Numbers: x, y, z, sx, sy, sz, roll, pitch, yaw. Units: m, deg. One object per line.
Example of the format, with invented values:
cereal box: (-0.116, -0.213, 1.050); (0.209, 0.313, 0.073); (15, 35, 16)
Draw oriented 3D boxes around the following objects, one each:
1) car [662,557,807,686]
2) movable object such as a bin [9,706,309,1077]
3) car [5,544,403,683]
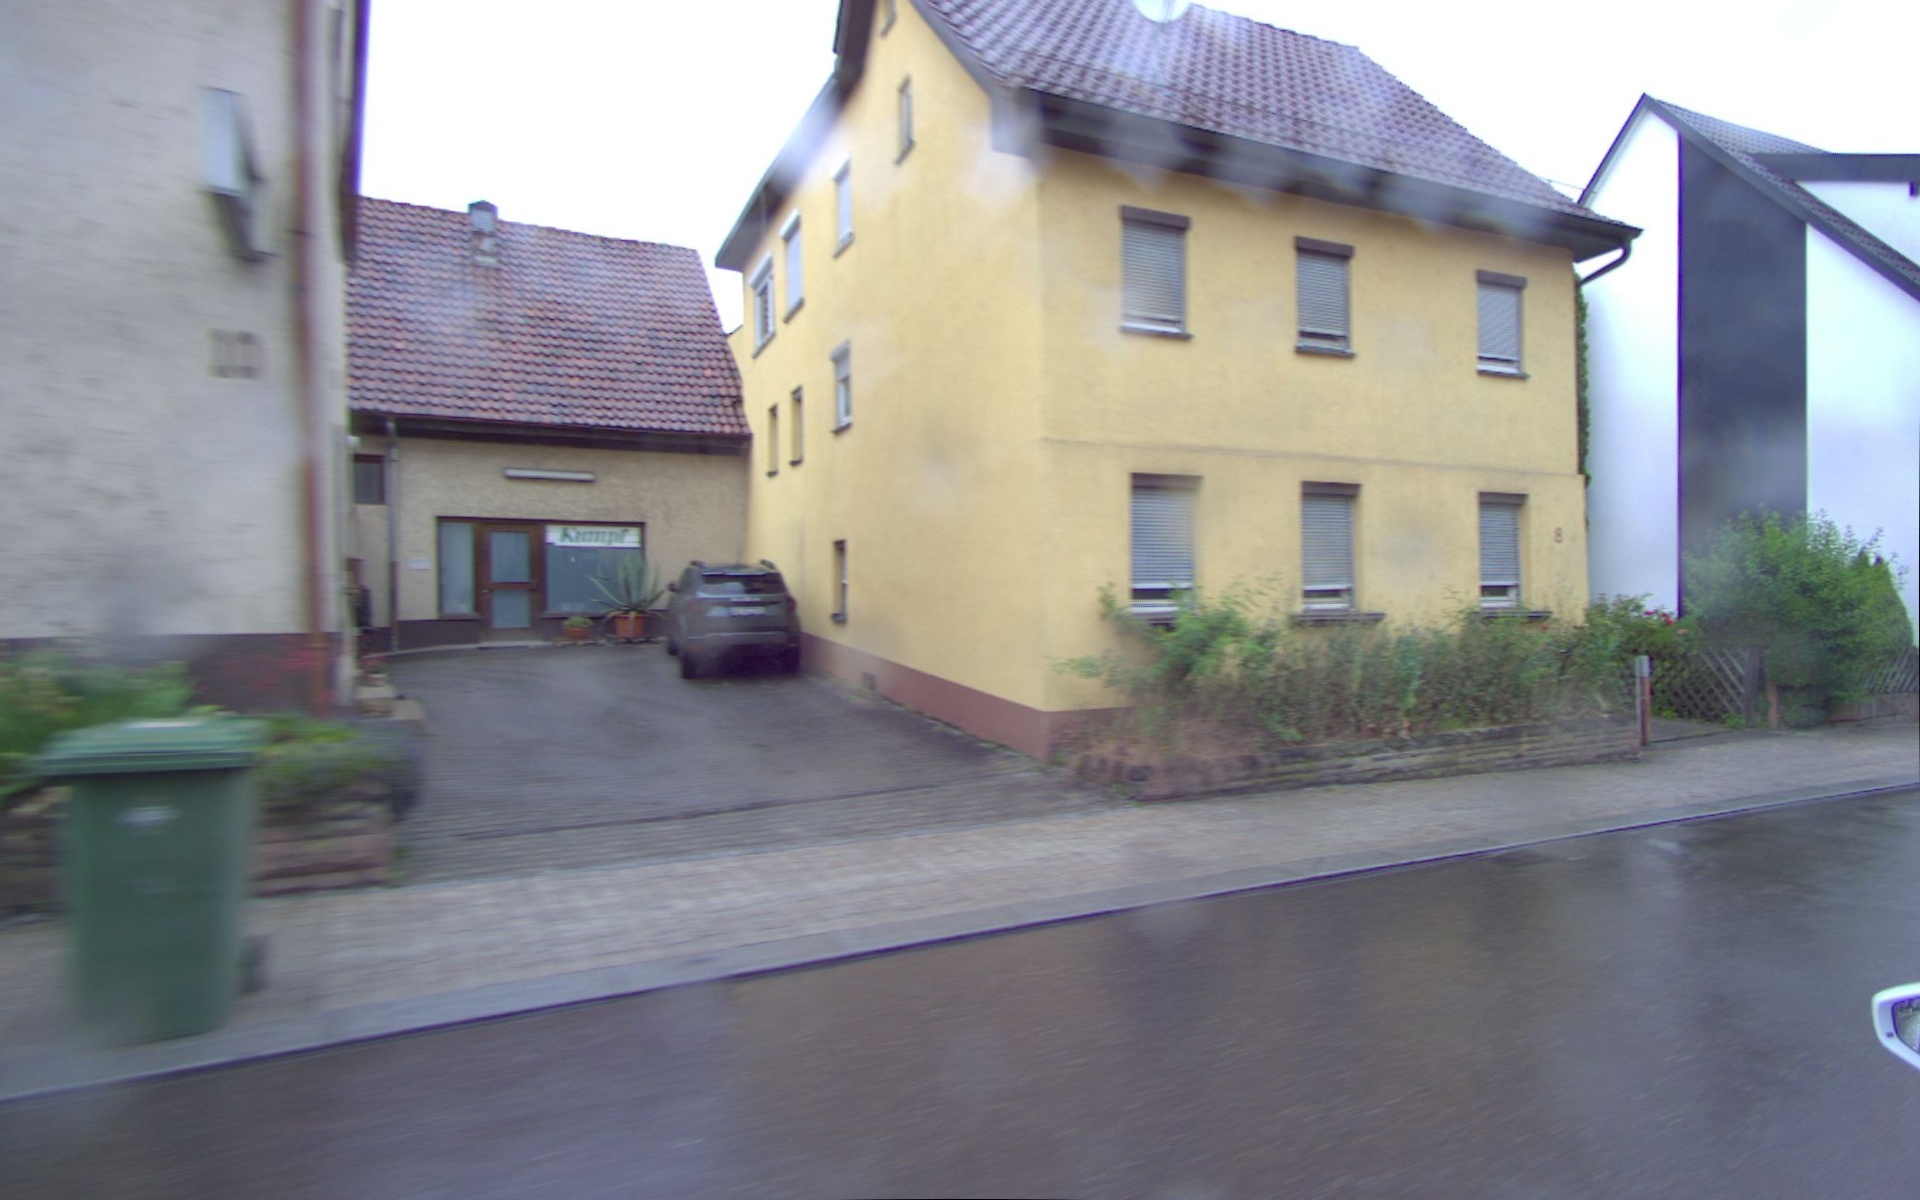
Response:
car: (-3.738, 0.214, 16.200); (1.762, 1.656, 3.980); (-2, 5, -20)
movable object such as a bin: (-2.834, 0.970, 3.642); (0.755, 1.070, 0.656); (1, 1, -31)
car: (-10.187, 0.181, 13.869); (3.929, 1.709, 1.870); (1, 1, -11)
